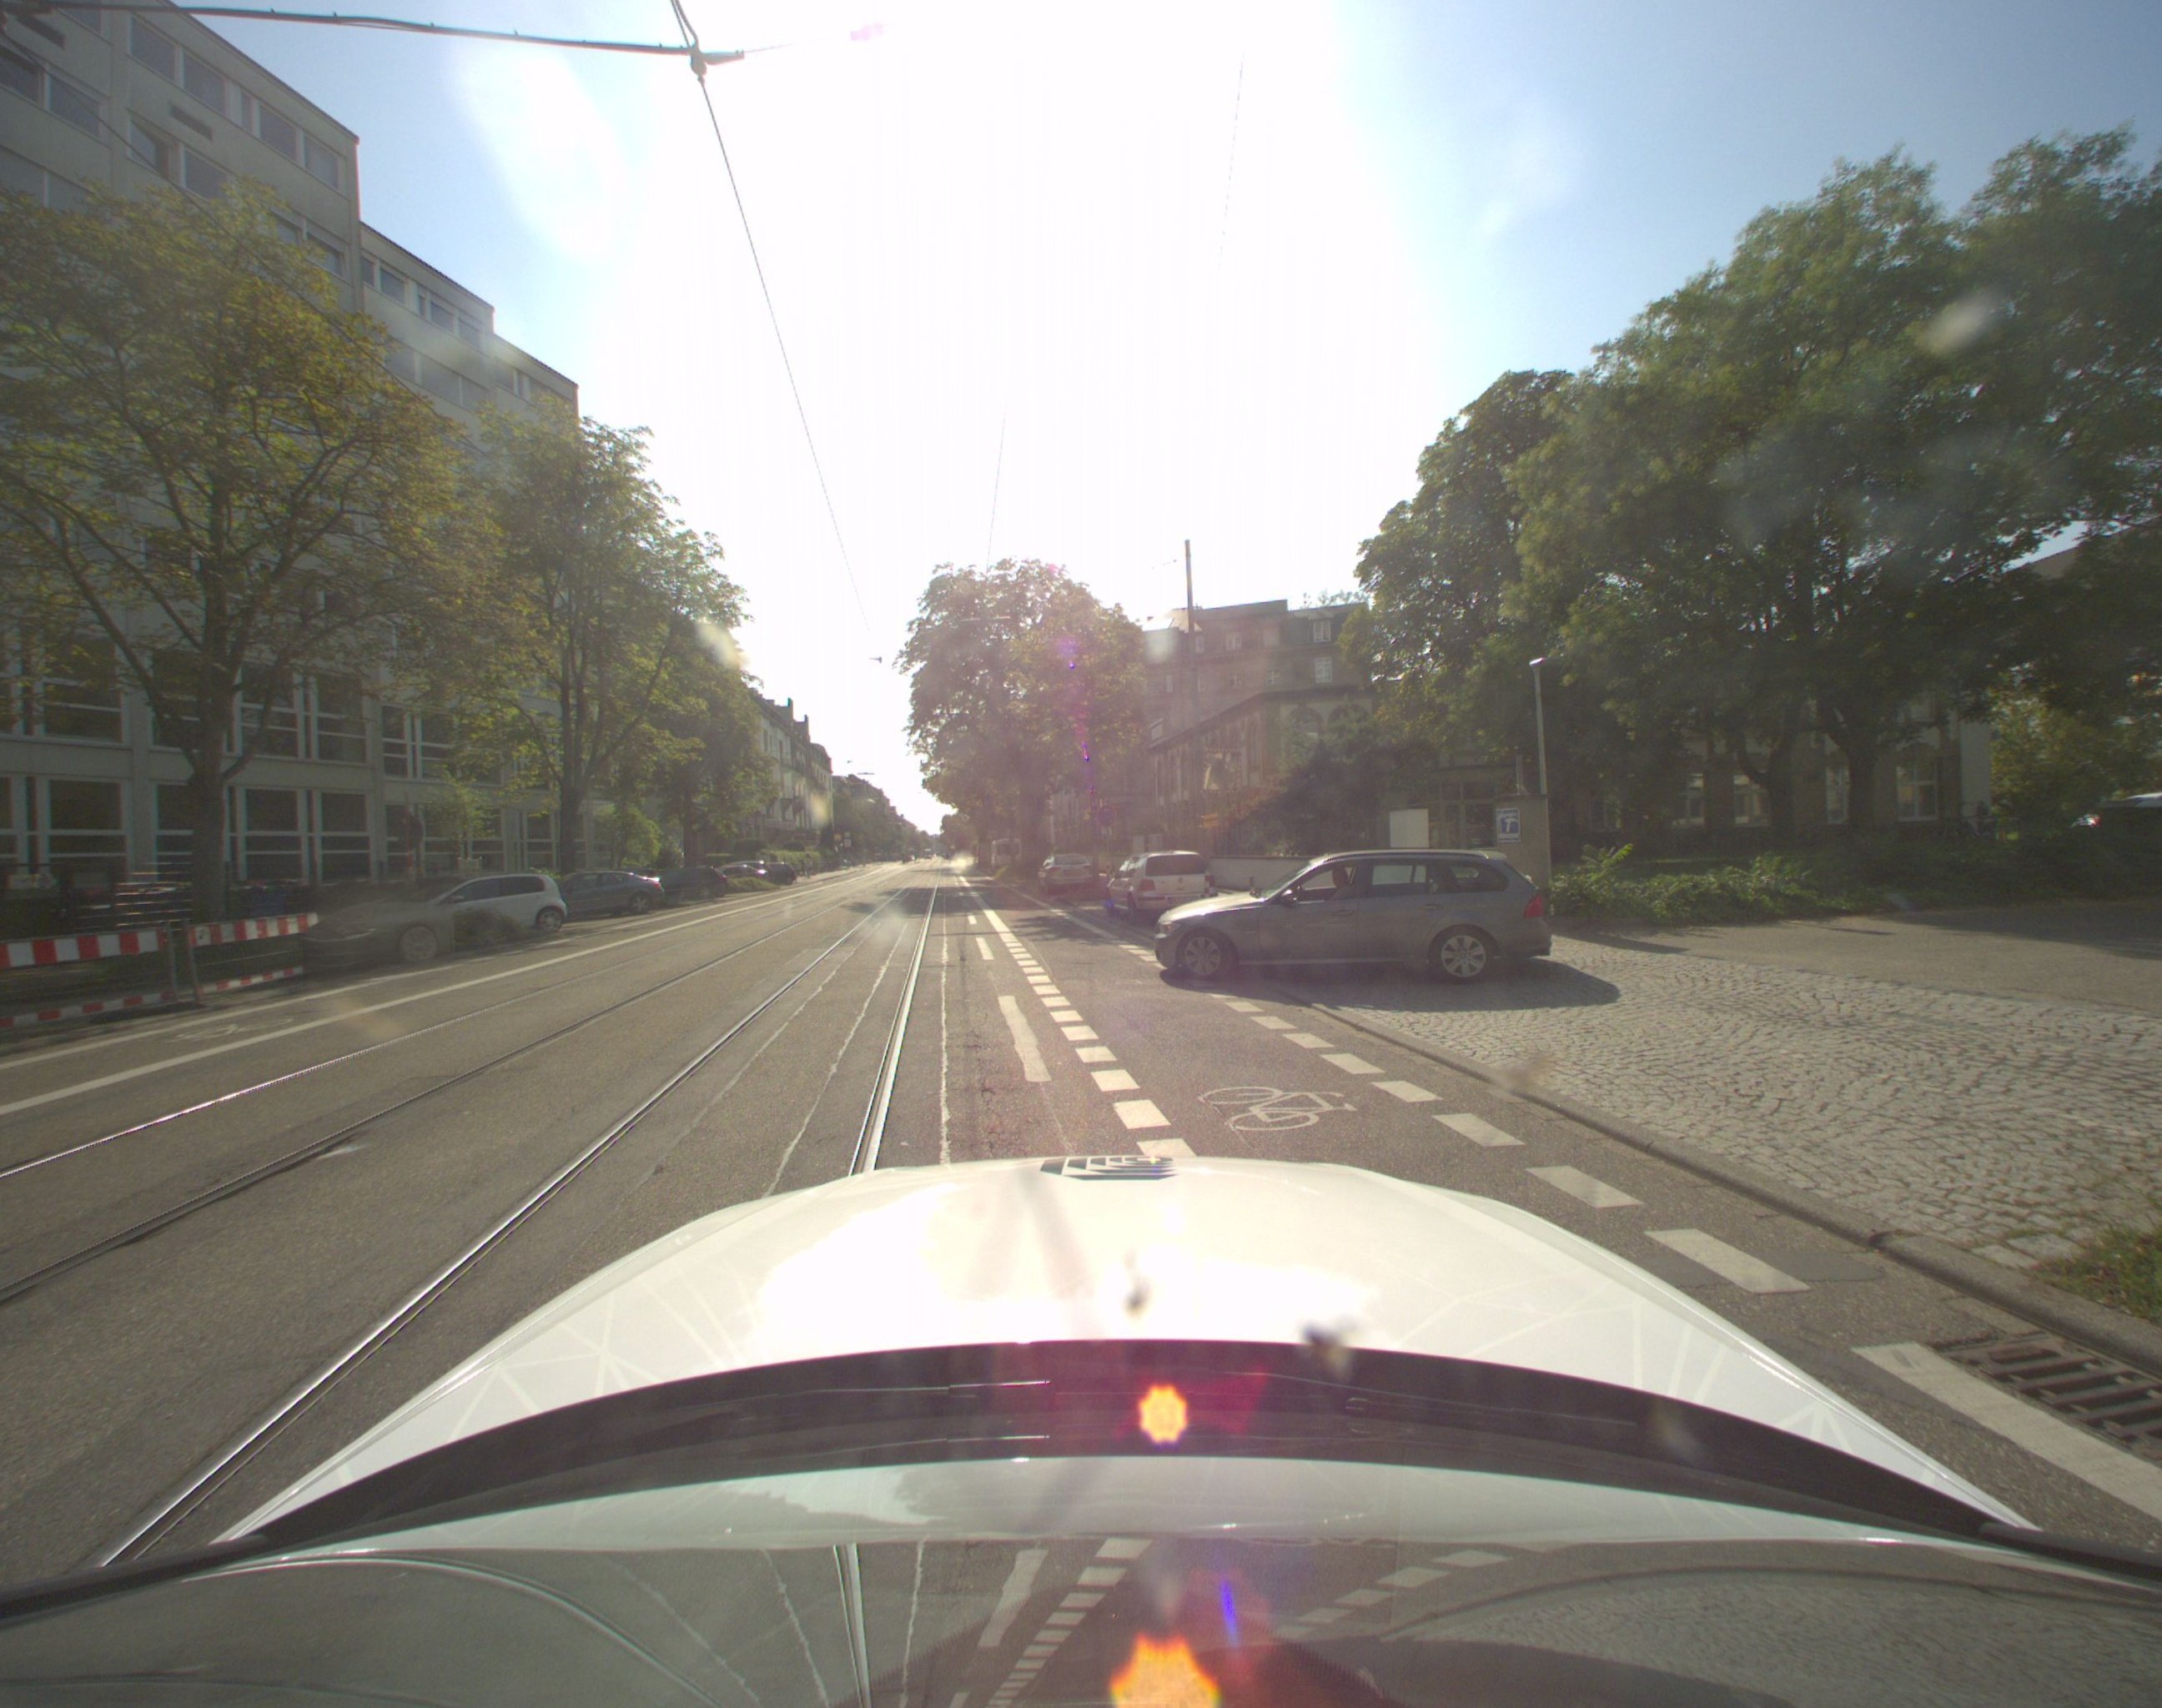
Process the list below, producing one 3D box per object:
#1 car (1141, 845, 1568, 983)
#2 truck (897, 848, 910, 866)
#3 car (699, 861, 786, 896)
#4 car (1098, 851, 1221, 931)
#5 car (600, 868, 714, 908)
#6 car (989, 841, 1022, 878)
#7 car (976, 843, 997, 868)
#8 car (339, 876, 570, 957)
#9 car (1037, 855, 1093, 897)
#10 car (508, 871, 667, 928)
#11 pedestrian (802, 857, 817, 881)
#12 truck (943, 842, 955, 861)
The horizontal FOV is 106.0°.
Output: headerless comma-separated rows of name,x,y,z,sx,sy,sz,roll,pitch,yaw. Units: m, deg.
car,3.078,0.672,9.766,4.388,1.409,1.813,-2,0,15
truck,-31.229,0.563,143.256,1.994,2.975,4.555,-2,0,-10
car,-18.277,1.292,44.068,4.018,1.640,1.672,-2,0,-37
car,1.519,0.690,17.001,1.689,1.418,3.623,-2,0,-9
car,-17.158,1.343,33.084,1.550,1.406,3.788,-2,0,35
car,-5.402,0.372,58.104,2.004,2.490,4.463,-2,0,-9
car,-9.853,0.157,84.533,2.004,2.475,4.463,-2,0,-9
car,-13.945,1.318,18.353,1.550,1.443,3.787,-2,0,30
car,-0.656,0.771,30.454,1.594,1.418,3.623,-2,0,-9
car,-14.895,1.312,24.744,1.550,1.443,3.788,-2,0,35
pedestrian,-20.565,1.146,61.658,0.962,1.760,0.659,-2,0,-11
truck,-23.422,-0.445,144.581,1.862,3.130,4.335,-2,0,-12
